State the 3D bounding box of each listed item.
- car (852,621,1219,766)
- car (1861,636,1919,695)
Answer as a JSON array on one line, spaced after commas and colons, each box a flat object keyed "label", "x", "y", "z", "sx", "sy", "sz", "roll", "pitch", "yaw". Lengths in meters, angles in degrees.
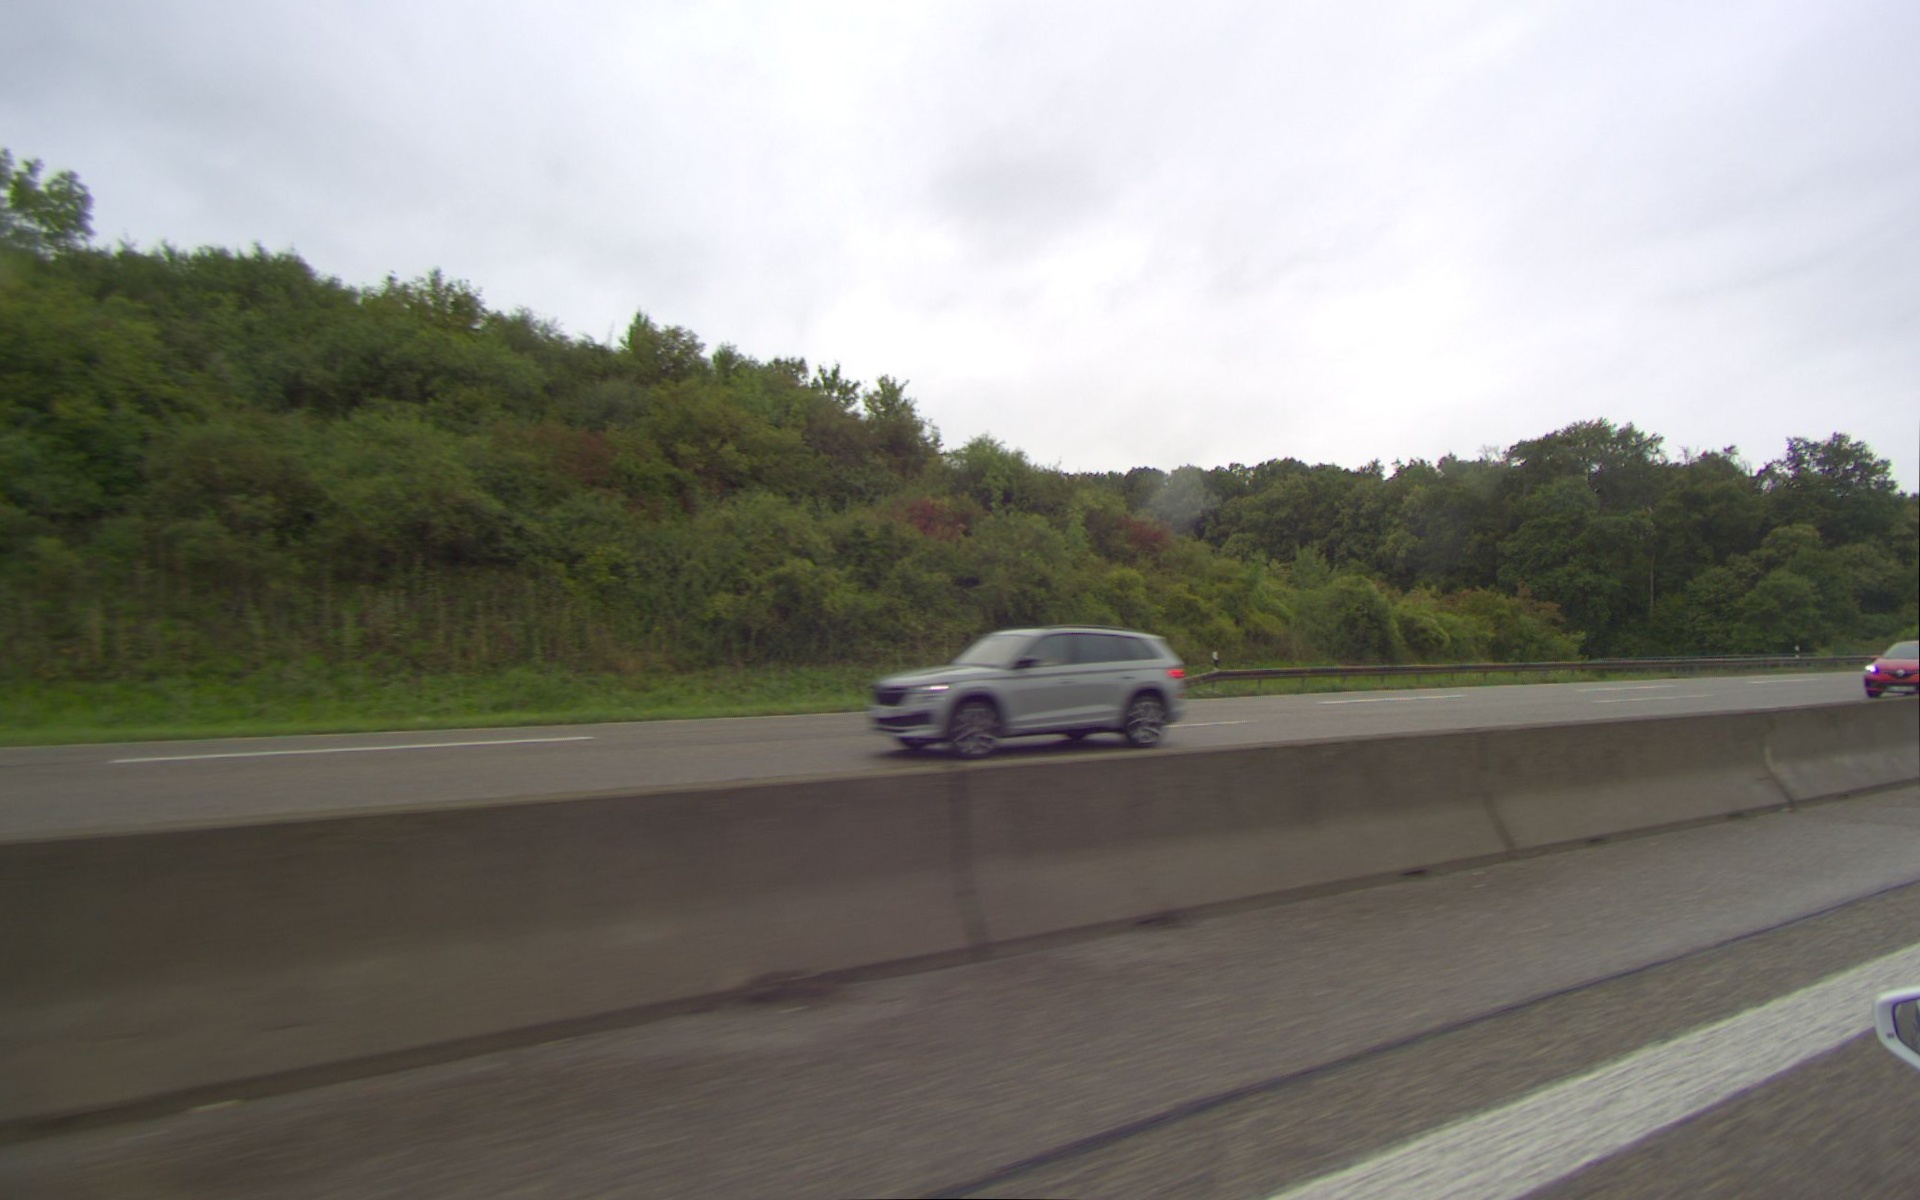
[{"label": "car", "x": 1.123, "y": 1.189, "z": 13.991, "sx": 4.859, "sy": 1.710, "sz": 1.984, "roll": 1, "pitch": -2, "yaw": -30}, {"label": "car", "x": 24.981, "y": 1.636, "z": 25.720, "sx": 4.317, "sy": 1.430, "sz": 1.627, "roll": 1, "pitch": -3, "yaw": -31}]
